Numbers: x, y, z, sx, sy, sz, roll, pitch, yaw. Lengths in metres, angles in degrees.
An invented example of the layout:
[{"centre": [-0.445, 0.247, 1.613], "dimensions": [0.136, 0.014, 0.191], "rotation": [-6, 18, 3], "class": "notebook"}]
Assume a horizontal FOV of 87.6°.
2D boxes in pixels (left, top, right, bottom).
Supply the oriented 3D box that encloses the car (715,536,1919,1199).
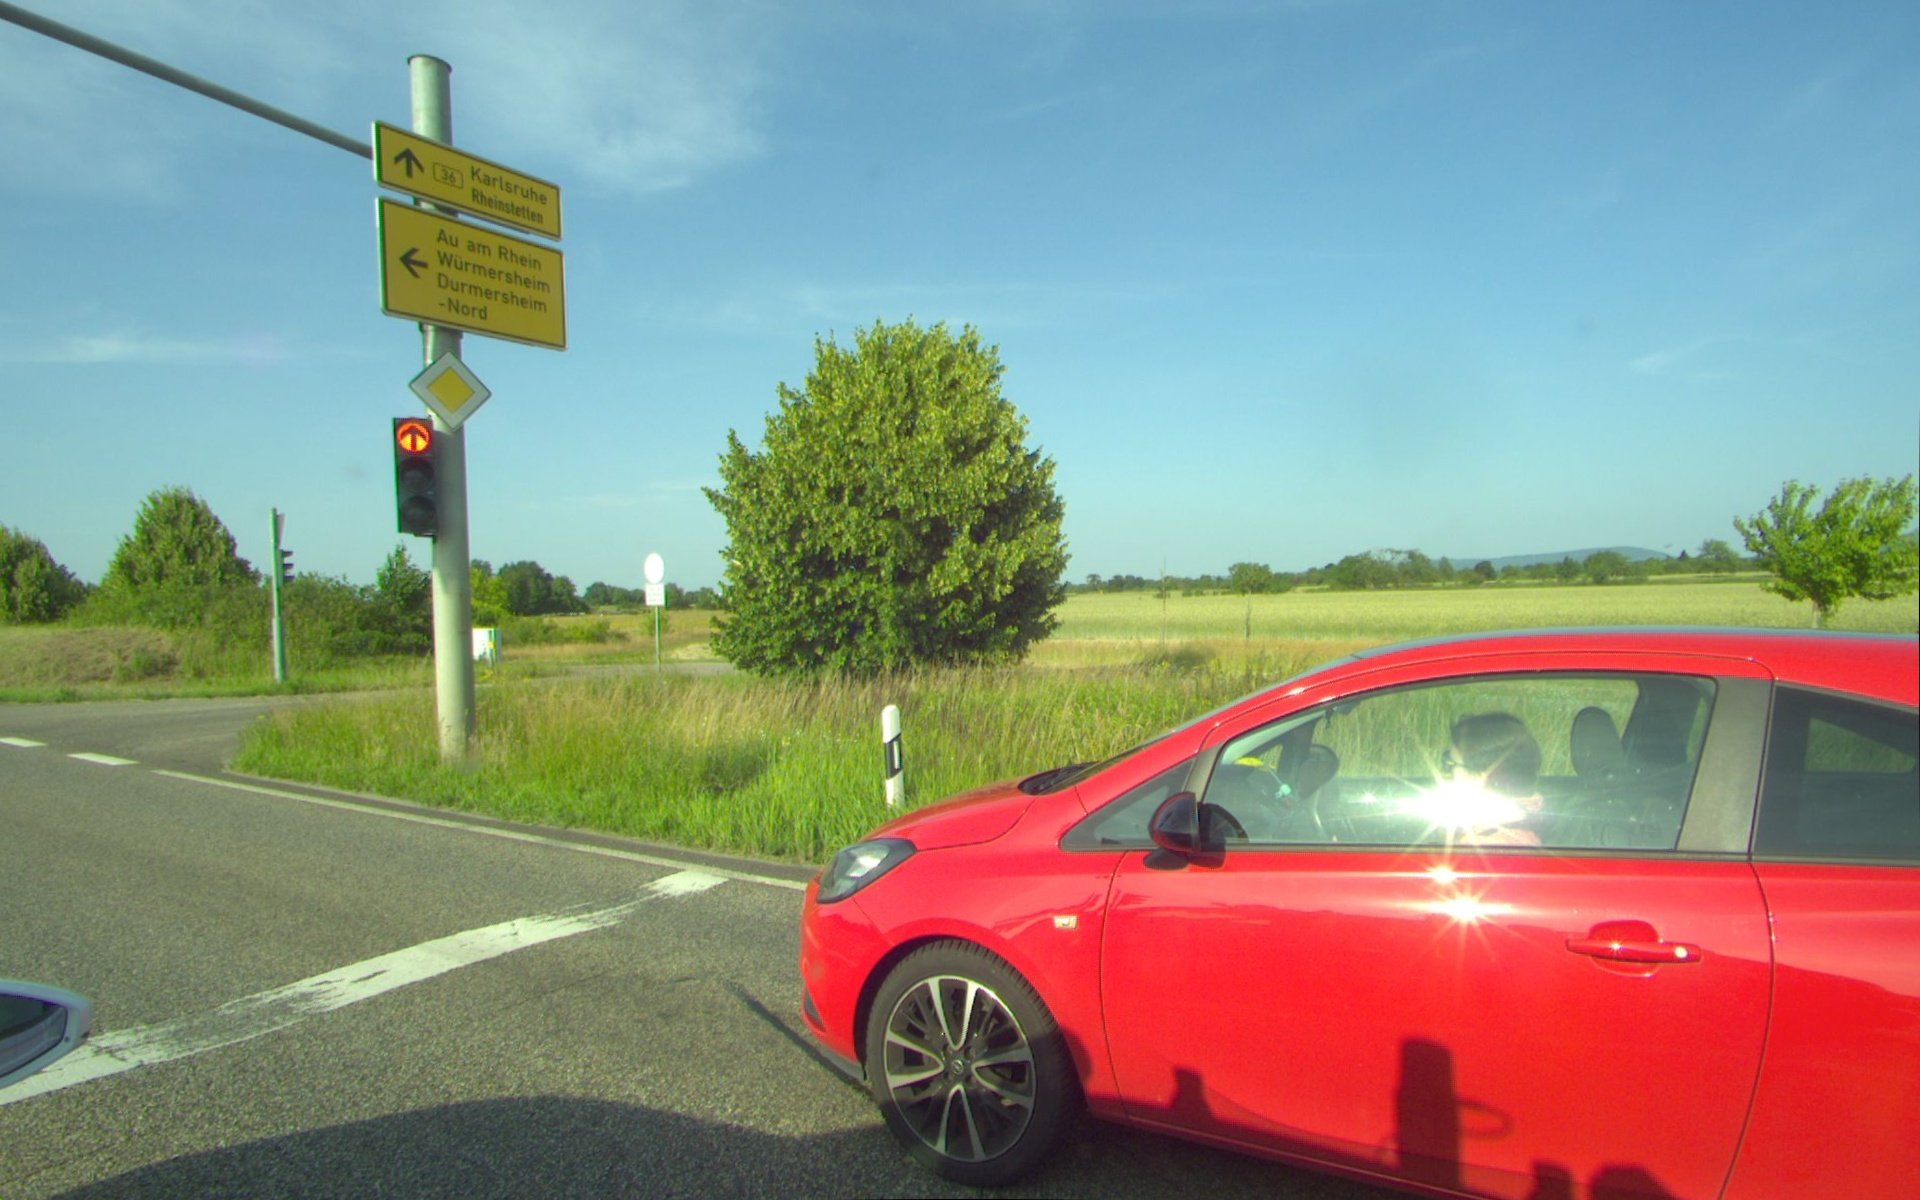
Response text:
[{"centre": [1.287, 0.695, 2.850], "dimensions": [3.693, 1.569, 1.695], "rotation": [-1, 0, 29], "class": "car"}]
